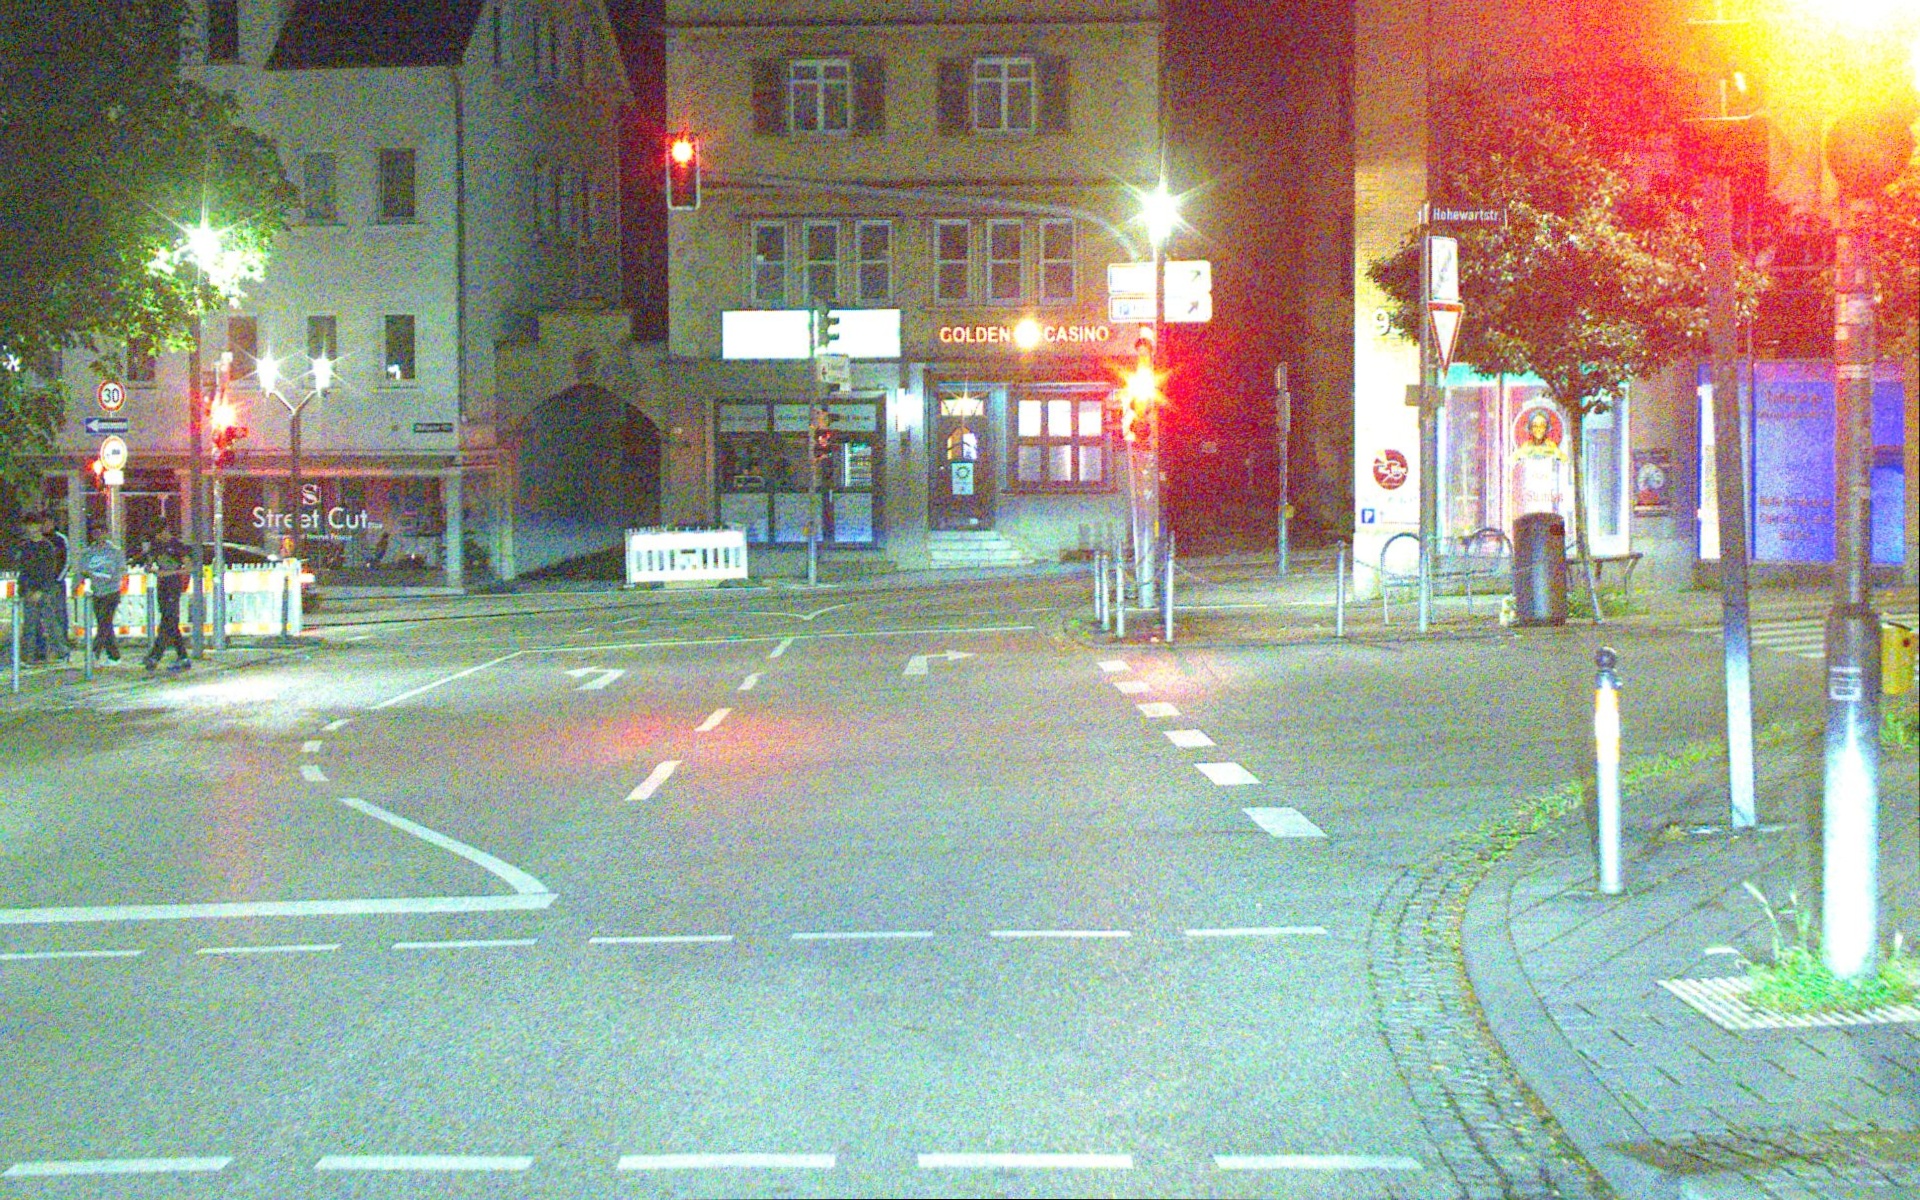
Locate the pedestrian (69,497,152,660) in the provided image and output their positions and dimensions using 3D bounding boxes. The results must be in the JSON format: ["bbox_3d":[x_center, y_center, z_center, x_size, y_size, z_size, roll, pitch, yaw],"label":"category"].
[{"bbox_3d":[-9.378,-0.235,37.963,0.716,1.789,0.569,1,0,6],"label":"pedestrian"}]

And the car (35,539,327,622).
[{"bbox_3d":[-12.615,-0.307,55.854,4.417,1.293,1.641,1,0,-4],"label":"car"}]

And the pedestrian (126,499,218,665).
[{"bbox_3d":[-8.604,-0.189,37.535,0.735,1.789,0.718,1,0,-37],"label":"pedestrian"}]

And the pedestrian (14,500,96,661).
[{"bbox_3d":[-10.171,-0.216,38.657,0.716,1.789,0.569,1,0,6],"label":"pedestrian"}]

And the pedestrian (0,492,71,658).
[{"bbox_3d":[-10.185,-0.270,37.603,0.716,1.789,0.569,1,0,6],"label":"pedestrian"}]
